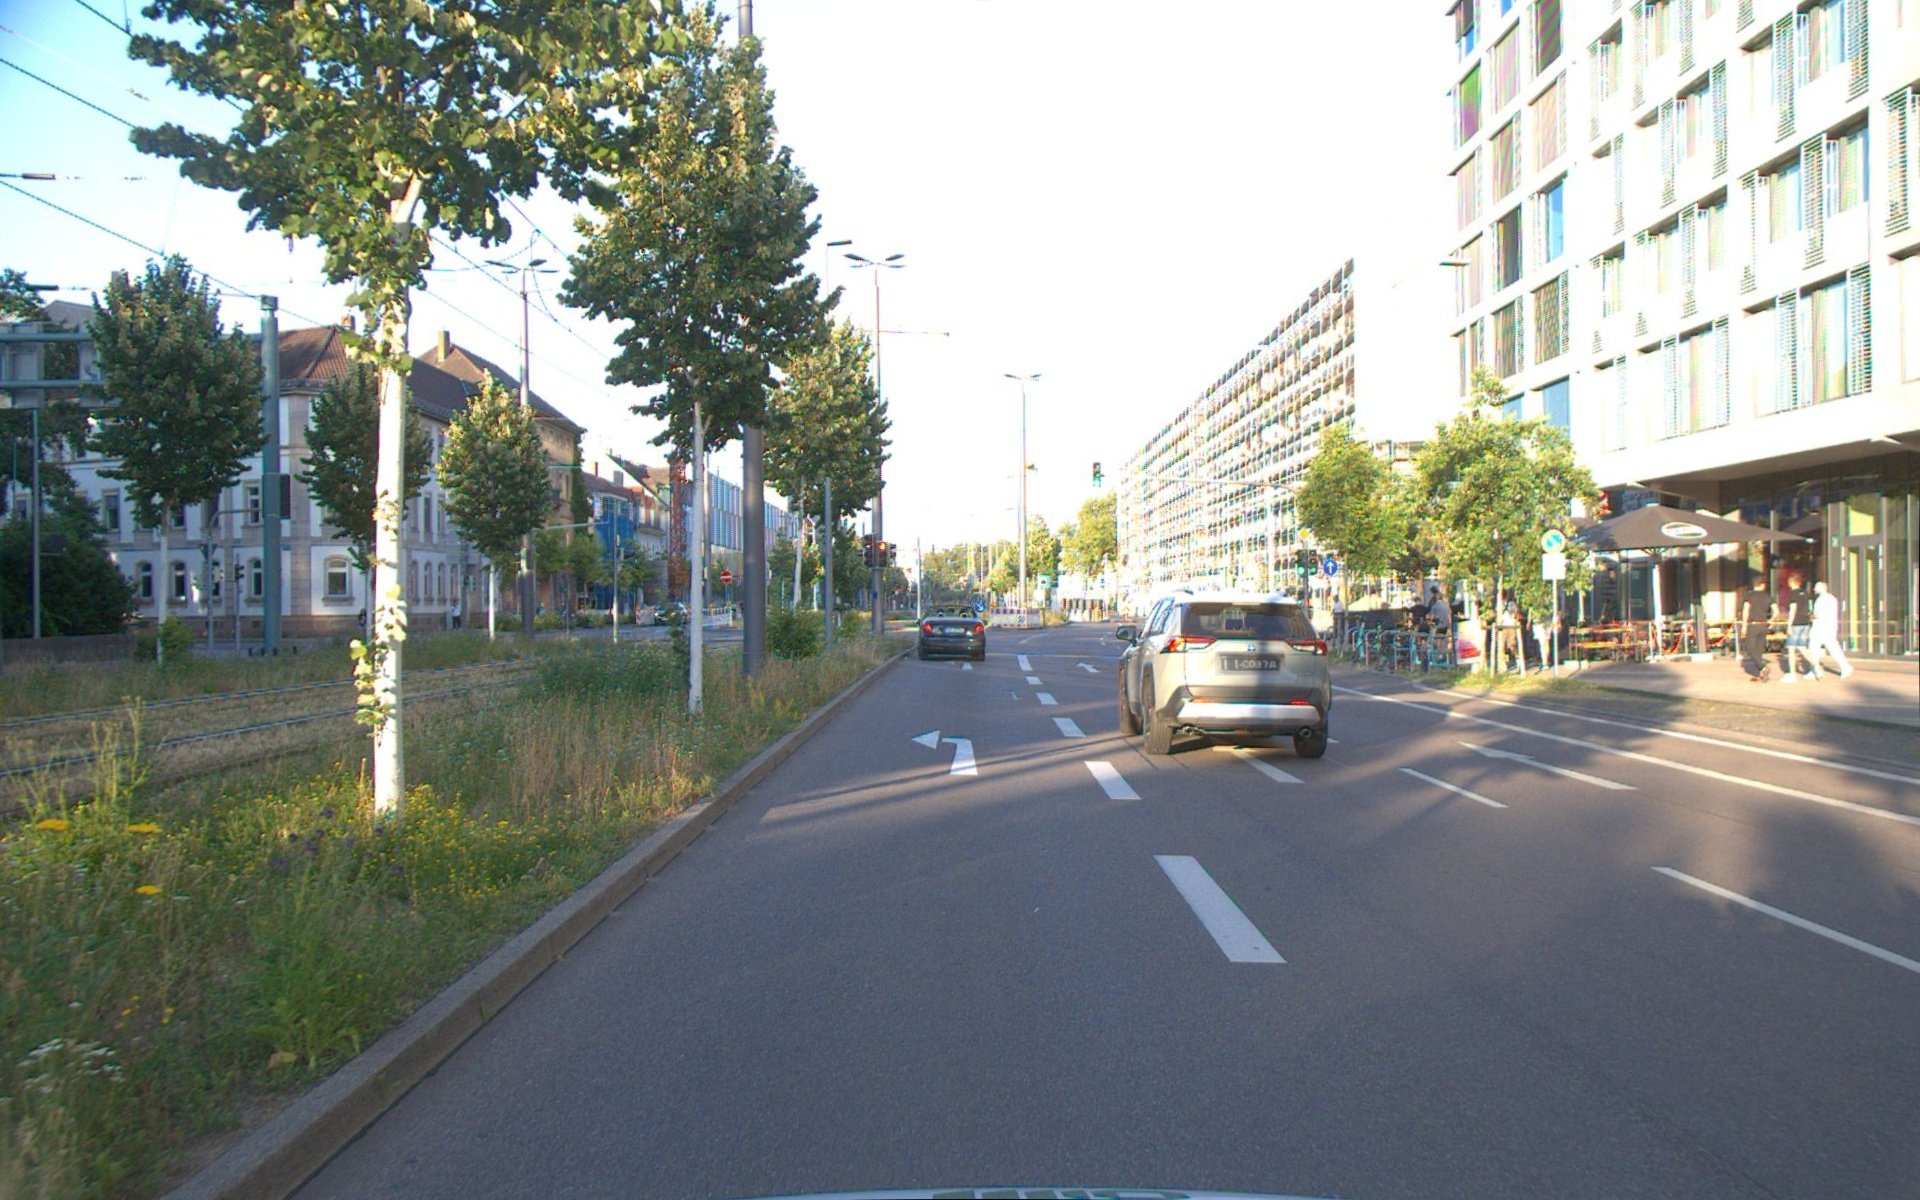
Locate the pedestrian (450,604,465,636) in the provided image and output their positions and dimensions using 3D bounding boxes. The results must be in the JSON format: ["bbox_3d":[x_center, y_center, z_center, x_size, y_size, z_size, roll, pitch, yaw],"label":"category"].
[{"bbox_3d":[-28.022,1.102,92.191,0.692,1.745,0.807,1,0,-22],"label":"pedestrian"}]

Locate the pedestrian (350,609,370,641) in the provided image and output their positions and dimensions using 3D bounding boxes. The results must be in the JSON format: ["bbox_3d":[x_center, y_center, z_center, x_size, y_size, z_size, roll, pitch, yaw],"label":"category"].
[{"bbox_3d":[-28.212,1.155,77.828,0.591,1.484,0.936,1,0,-1],"label":"pedestrian"}]

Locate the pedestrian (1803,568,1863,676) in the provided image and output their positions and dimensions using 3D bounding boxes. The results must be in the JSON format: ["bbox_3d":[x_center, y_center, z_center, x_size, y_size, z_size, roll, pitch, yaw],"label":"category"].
[{"bbox_3d":[15.350,0.385,29.099,0.605,1.843,0.777,-4,-1,9],"label":"pedestrian"}]

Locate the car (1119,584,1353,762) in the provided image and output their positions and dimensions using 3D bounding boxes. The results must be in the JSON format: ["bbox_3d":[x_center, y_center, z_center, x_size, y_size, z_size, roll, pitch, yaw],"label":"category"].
[{"bbox_3d":[2.865,0.699,18.070,1.796,1.702,4.282,1,0,-1],"label":"car"}]

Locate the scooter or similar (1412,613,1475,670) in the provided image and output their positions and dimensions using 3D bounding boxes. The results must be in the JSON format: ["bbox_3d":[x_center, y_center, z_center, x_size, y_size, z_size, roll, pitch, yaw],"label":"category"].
[{"bbox_3d":[11.035,0.948,37.780,1.266,1.239,0.535,-3,-1,24],"label":"scooter or similar"}]

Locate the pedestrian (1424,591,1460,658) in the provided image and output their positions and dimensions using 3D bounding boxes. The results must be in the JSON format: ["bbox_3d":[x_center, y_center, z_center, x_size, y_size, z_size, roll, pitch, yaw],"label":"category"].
[{"bbox_3d":[13.029,0.647,44.752,0.671,1.765,0.761,-3,0,0],"label":"pedestrian"}]

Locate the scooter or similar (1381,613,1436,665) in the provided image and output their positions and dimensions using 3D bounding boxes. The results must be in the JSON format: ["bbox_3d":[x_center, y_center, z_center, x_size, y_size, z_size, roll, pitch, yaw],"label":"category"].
[{"bbox_3d":[10.926,0.958,40.309,1.132,1.212,0.510,-3,-2,2],"label":"scooter or similar"}]

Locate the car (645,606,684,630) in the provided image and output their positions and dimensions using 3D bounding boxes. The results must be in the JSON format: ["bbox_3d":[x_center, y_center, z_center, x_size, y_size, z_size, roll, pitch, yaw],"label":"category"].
[{"bbox_3d":[-21.310,1.262,119.266,1.952,1.608,4.124,-2,0,1],"label":"car"}]

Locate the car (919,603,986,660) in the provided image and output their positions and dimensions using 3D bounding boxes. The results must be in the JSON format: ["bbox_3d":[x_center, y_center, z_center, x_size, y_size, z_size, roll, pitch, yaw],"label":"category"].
[{"bbox_3d":[-0.188,0.789,42.985,1.640,1.376,4.000,1,0,0],"label":"car"}]

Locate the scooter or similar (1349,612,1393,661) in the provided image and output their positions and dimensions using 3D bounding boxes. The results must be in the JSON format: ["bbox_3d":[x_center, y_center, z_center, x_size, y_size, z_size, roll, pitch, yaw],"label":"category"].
[{"bbox_3d":[11.030,0.971,44.420,1.039,1.244,0.550,-3,-1,9],"label":"scooter or similar"}]

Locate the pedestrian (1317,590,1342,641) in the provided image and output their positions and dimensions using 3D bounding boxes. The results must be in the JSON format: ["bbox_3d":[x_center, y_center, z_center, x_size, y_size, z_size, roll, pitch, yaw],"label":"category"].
[{"bbox_3d":[13.713,0.575,61.375,0.752,1.880,0.678,-1,0,0],"label":"pedestrian"}]

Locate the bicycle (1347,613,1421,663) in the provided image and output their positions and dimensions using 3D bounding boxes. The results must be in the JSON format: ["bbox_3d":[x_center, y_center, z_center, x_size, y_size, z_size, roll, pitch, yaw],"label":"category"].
[{"bbox_3d":[11.095,0.991,43.296,1.758,1.214,0.567,-3,0,-5],"label":"bicycle"}]

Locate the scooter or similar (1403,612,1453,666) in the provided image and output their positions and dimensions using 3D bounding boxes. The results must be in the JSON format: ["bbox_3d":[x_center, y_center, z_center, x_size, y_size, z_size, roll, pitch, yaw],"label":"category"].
[{"bbox_3d":[11.178,0.933,39.521,1.104,1.235,0.532,-3,-2,15],"label":"scooter or similar"}]

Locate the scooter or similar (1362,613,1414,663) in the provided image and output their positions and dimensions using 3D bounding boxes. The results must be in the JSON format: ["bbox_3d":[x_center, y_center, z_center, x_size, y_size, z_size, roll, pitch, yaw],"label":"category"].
[{"bbox_3d":[11.063,0.982,42.760,1.186,1.222,0.479,-3,0,-5],"label":"scooter or similar"}]

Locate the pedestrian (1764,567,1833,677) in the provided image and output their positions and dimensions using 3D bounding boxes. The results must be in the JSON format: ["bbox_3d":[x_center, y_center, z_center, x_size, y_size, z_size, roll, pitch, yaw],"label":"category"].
[{"bbox_3d":[14.591,0.382,28.790,0.740,1.856,0.941,-2,-1,9],"label":"pedestrian"}]

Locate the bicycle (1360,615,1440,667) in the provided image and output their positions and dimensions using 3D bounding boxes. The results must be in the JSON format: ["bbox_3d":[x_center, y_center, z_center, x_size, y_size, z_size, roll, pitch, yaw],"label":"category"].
[{"bbox_3d":[11.025,1.020,41.475,1.809,1.202,0.608,-3,0,-1],"label":"bicycle"}]

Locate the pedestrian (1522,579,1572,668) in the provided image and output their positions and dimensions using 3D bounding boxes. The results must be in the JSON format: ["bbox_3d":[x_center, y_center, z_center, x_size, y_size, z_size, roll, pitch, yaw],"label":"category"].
[{"bbox_3d":[13.062,0.529,36.807,0.807,1.921,0.867,-2,-1,8],"label":"pedestrian"}]

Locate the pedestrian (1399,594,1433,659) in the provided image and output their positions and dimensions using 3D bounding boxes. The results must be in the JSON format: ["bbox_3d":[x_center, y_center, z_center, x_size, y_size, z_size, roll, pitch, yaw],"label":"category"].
[{"bbox_3d":[12.333,0.705,44.750,0.640,1.732,0.689,-2,0,0],"label":"pedestrian"}]

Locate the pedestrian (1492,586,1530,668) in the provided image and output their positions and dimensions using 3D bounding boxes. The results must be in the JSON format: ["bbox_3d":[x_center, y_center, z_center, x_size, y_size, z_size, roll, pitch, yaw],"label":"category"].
[{"bbox_3d":[12.458,0.613,37.437,0.564,1.817,0.829,-2,-1,5],"label":"pedestrian"}]

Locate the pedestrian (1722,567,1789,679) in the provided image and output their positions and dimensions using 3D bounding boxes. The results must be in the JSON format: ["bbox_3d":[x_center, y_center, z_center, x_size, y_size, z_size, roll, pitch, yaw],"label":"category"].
[{"bbox_3d":[13.918,0.398,28.965,0.728,1.881,0.941,-3,-1,9],"label":"pedestrian"}]
